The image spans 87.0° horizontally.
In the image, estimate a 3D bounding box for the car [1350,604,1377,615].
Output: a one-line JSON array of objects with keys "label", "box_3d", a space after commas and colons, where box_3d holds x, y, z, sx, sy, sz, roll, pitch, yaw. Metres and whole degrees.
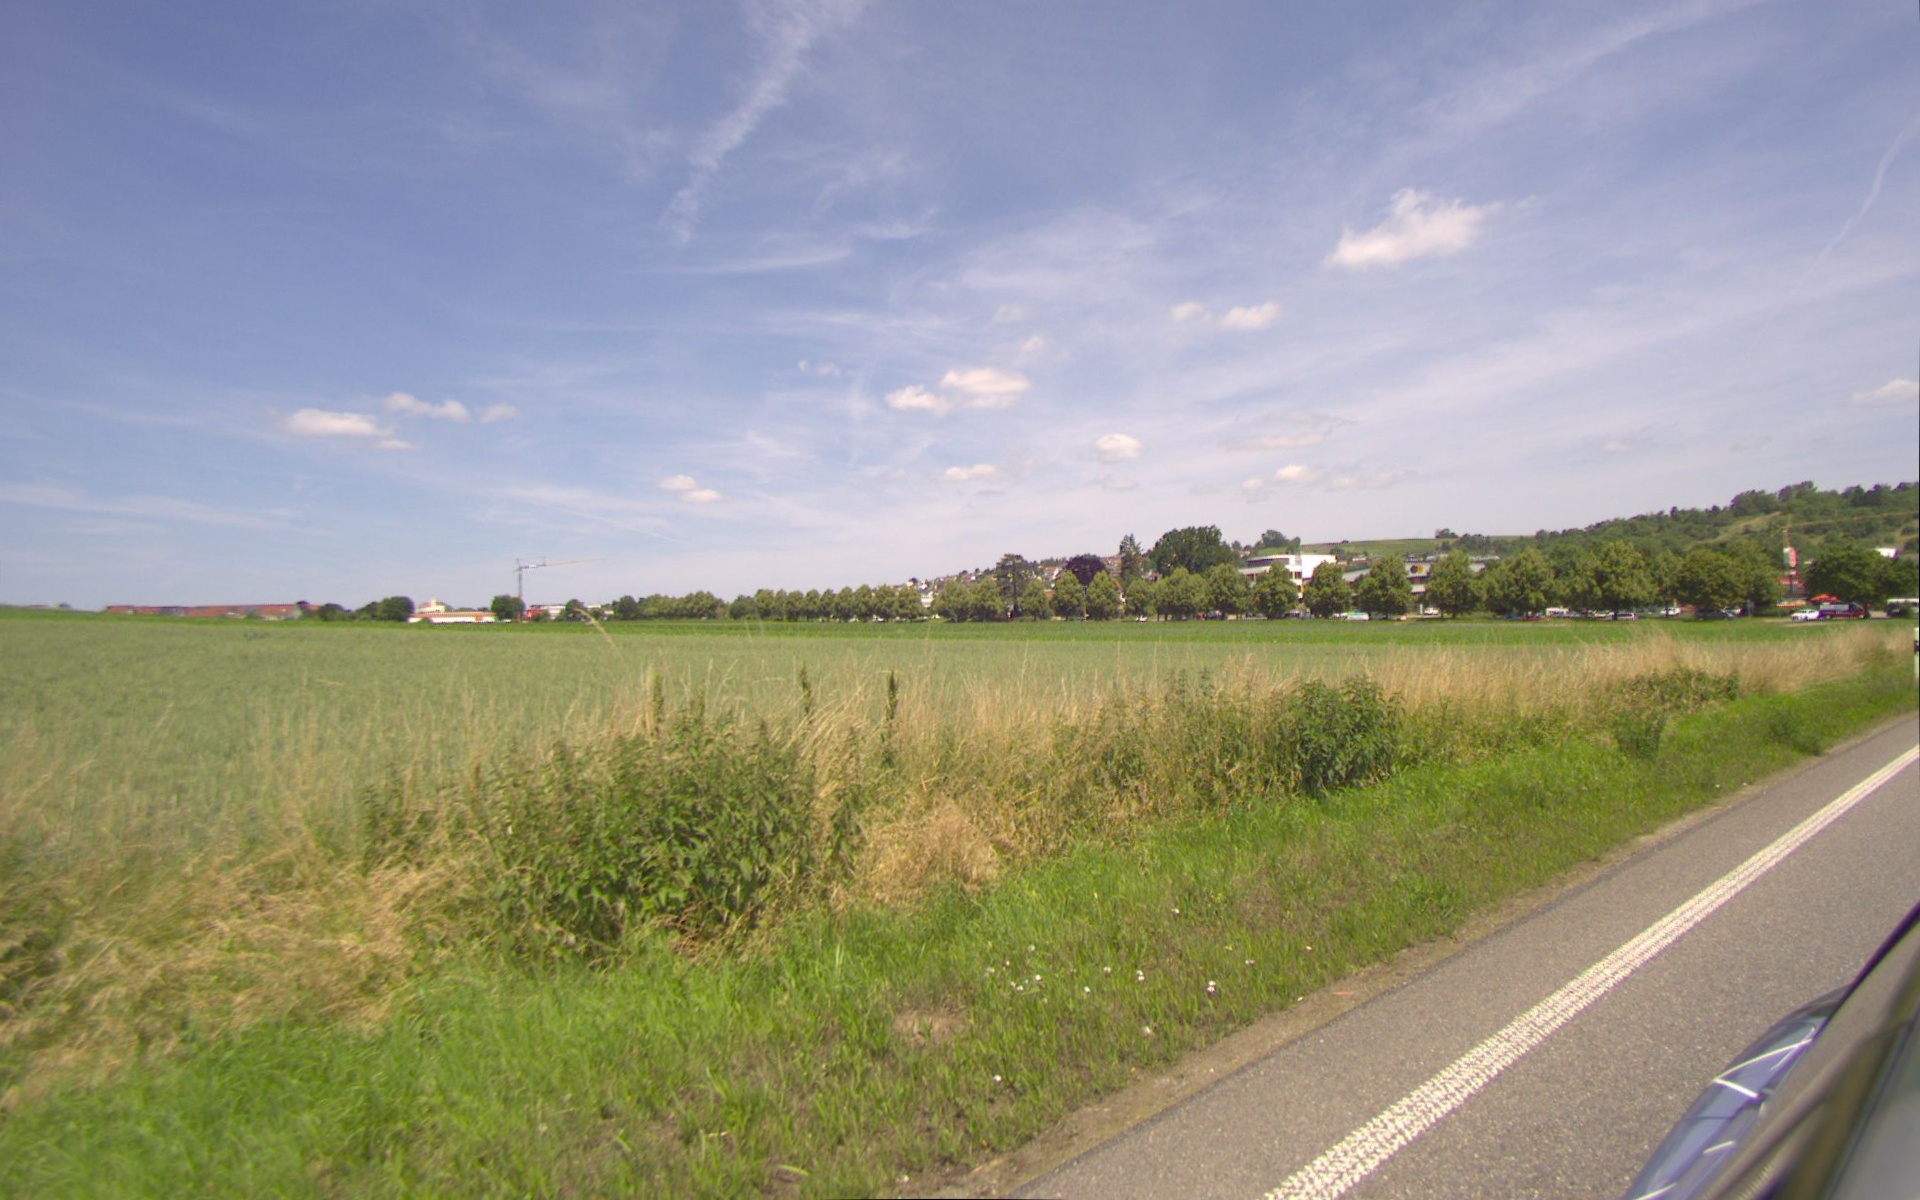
[{"label": "car", "box_3d": [78.612, 1.881, 197.088, 1.855, 2.039, 4.463, 0, 0, -41]}]

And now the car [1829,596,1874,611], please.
[{"label": "car", "box_3d": [120.411, 0.433, 136.690, 4.457, 2.039, 1.858, 0, 0, 45]}]

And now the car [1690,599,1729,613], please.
[{"label": "car", "box_3d": [110.679, 0.889, 149.447, 1.856, 2.039, 4.460, 0, 0, -43]}]

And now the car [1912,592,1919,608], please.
[{"label": "car", "box_3d": [125.731, 0.022, 130.647, 1.856, 2.039, 3.990, 0, 0, -43]}]
